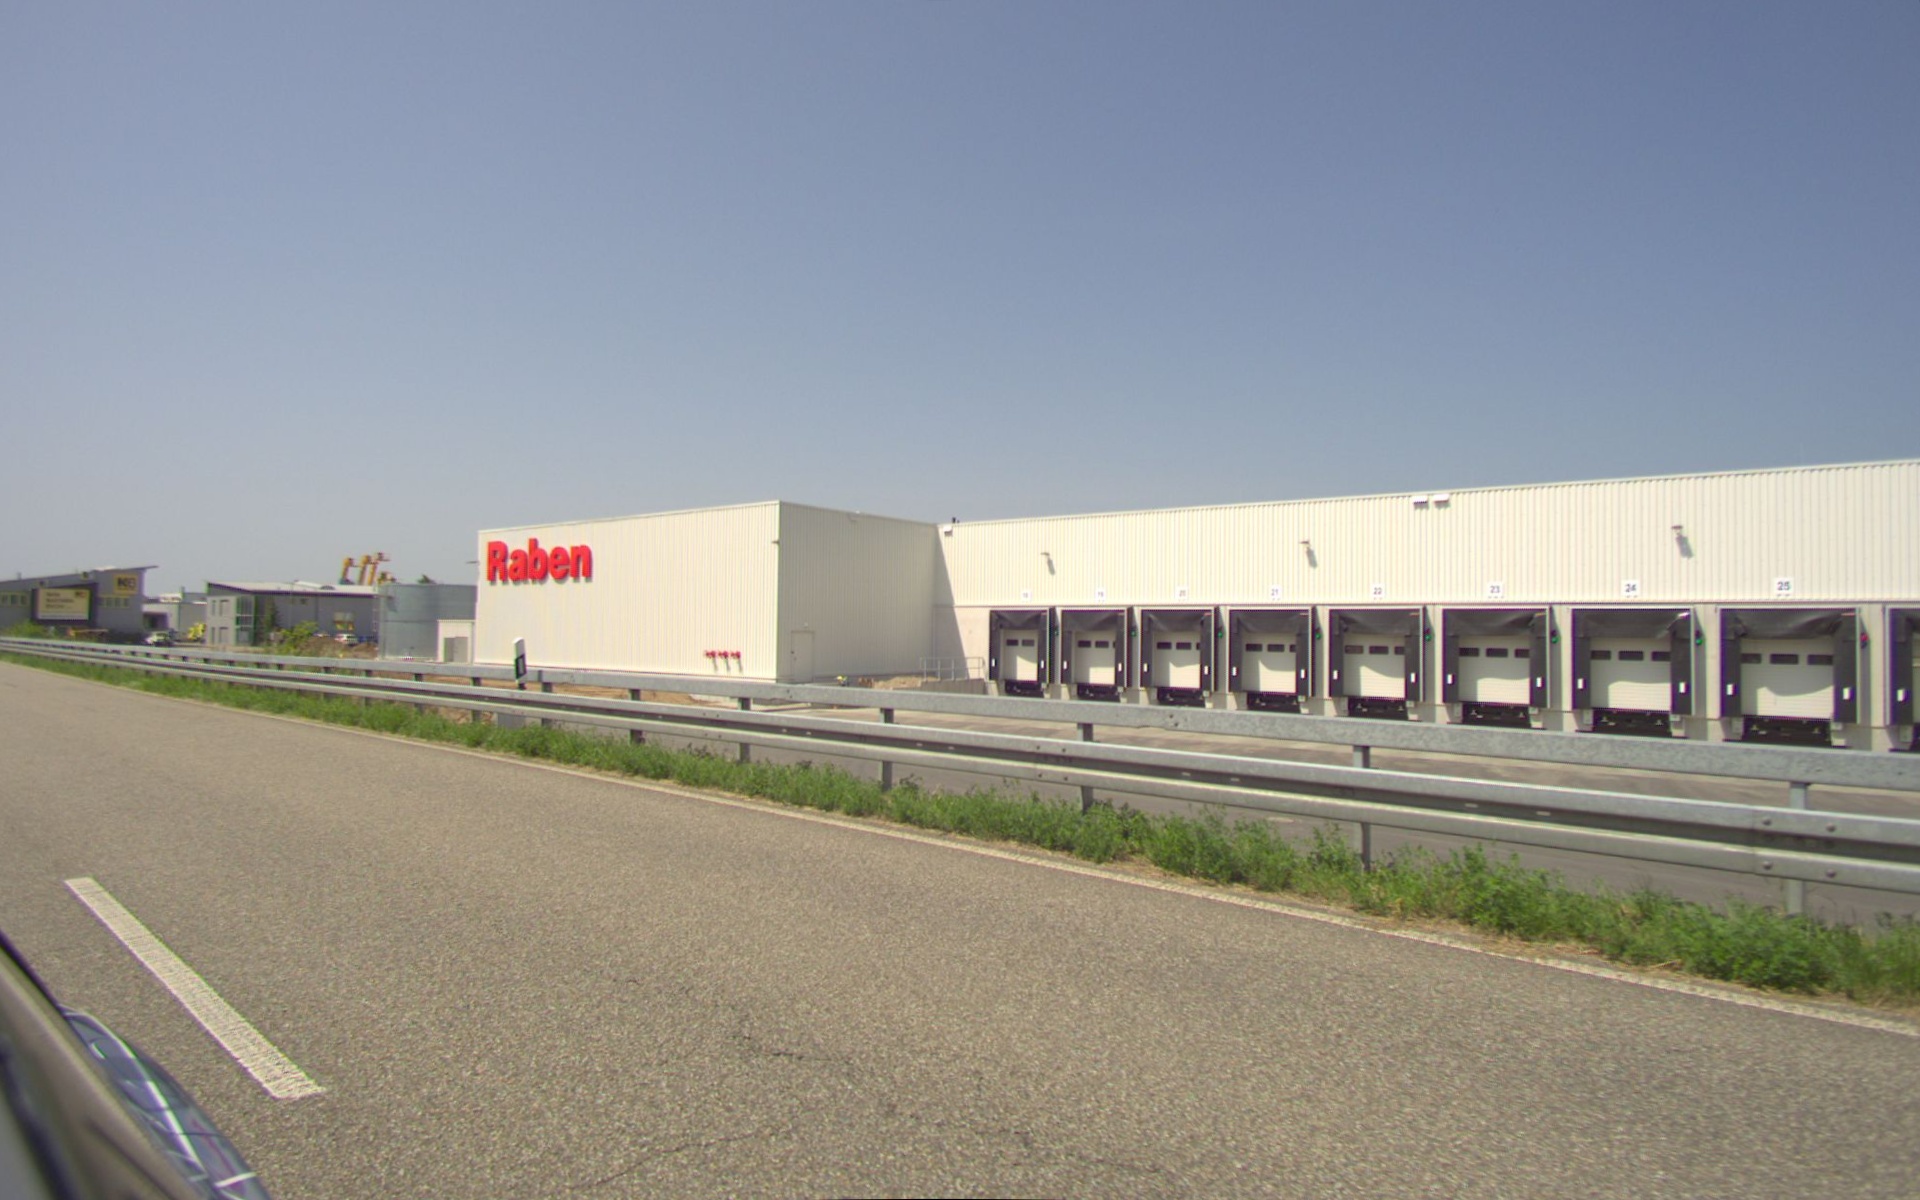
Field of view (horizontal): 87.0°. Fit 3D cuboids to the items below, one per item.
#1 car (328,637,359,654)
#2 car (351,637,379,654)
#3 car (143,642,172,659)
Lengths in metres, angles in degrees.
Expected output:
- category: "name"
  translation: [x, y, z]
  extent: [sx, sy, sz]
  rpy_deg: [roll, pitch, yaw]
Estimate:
- category: "car"
  translation: [-74.489, 5.478, 122.300]
  extent: [3.996, 2.029, 1.973]
  rpy_deg: [-1, -1, 40]
- category: "car"
  translation: [-72.994, 5.602, 124.185]
  extent: [3.687, 1.915, 1.810]
  rpy_deg: [-2, -5, 41]
- category: "car"
  translation: [-85.627, 5.385, 108.008]
  extent: [3.306, 1.686, 1.537]
  rpy_deg: [-1, -3, 36]
